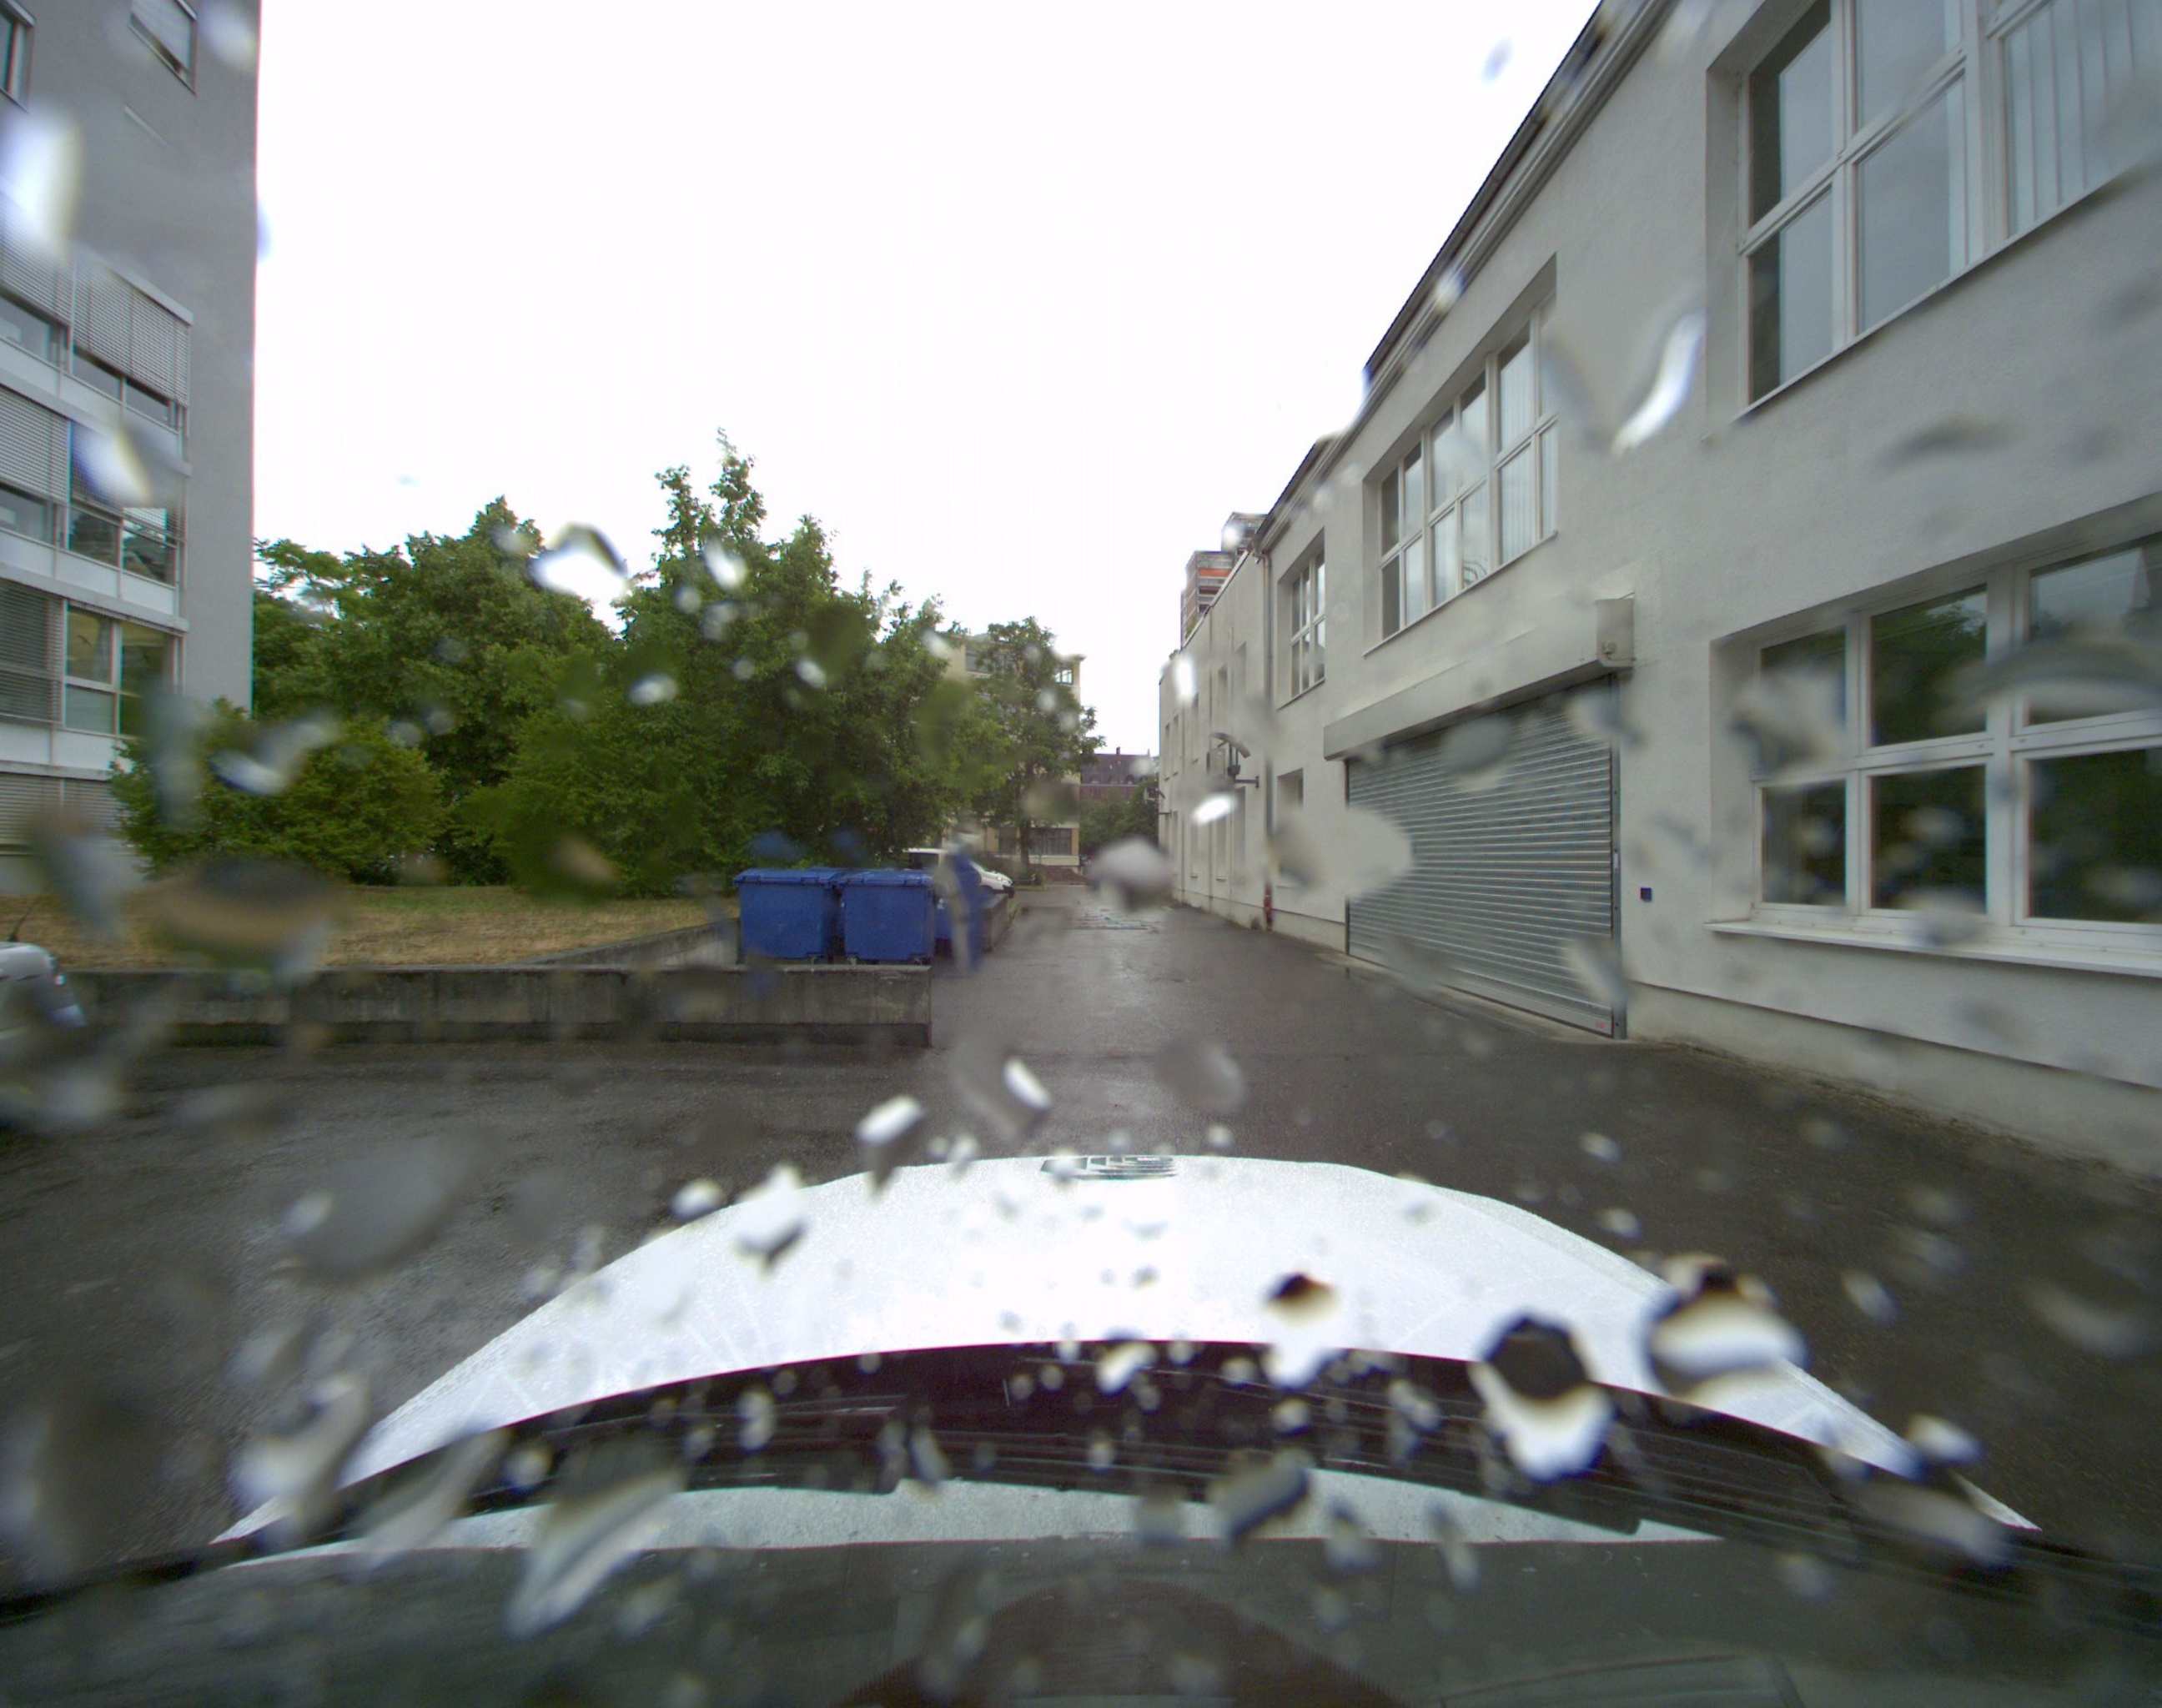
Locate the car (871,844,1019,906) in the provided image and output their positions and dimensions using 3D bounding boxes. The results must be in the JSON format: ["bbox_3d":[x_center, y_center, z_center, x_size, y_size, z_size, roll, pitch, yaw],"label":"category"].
[{"bbox_3d":[-4.576,0.697,27.975,4.767,2.013,1.999,-1,0,-2],"label":"car"}]

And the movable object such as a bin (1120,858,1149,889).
[{"bbox_3d":[2.581,0.956,39.402,1.212,1.437,1.292,1,-3,-4],"label":"movable object such as a bin"}]

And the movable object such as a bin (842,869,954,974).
[{"bbox_3d":[-2.427,0.873,10.974,1.198,1.337,1.117,0,-1,2],"label":"movable object such as a bin"}]

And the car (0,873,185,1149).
[{"bbox_3d":[-7.517,0.733,3.855,4.161,1.333,1.818,3,0,-7],"label":"car"}]

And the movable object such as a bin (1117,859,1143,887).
[{"bbox_3d":[2.525,1.016,42.411,1.212,1.437,1.257,1,-3,-4],"label":"movable object such as a bin"}]

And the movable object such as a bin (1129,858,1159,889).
[{"bbox_3d":[2.908,0.920,37.731,1.212,1.437,1.233,1,-3,-5],"label":"movable object such as a bin"}]

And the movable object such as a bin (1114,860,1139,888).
[{"bbox_3d":[2.443,1.077,43.785,1.212,1.437,1.257,1,-3,-4],"label":"movable object such as a bin"}]

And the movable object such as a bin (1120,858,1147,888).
[{"bbox_3d":[2.647,0.989,41.041,1.212,1.468,1.233,1,-3,-5],"label":"movable object such as a bin"}]

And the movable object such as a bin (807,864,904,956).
[{"bbox_3d":[-3.444,0.833,12.540,1.218,1.337,1.006,0,1,-2],"label":"movable object such as a bin"}]

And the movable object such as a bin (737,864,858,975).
[{"bbox_3d":[-3.745,0.836,10.882,1.199,1.337,1.116,2,1,-2],"label":"movable object such as a bin"}]

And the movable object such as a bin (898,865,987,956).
[{"bbox_3d":[-2.126,0.856,12.688,1.218,1.337,1.006,0,0,-2],"label":"movable object such as a bin"}]
